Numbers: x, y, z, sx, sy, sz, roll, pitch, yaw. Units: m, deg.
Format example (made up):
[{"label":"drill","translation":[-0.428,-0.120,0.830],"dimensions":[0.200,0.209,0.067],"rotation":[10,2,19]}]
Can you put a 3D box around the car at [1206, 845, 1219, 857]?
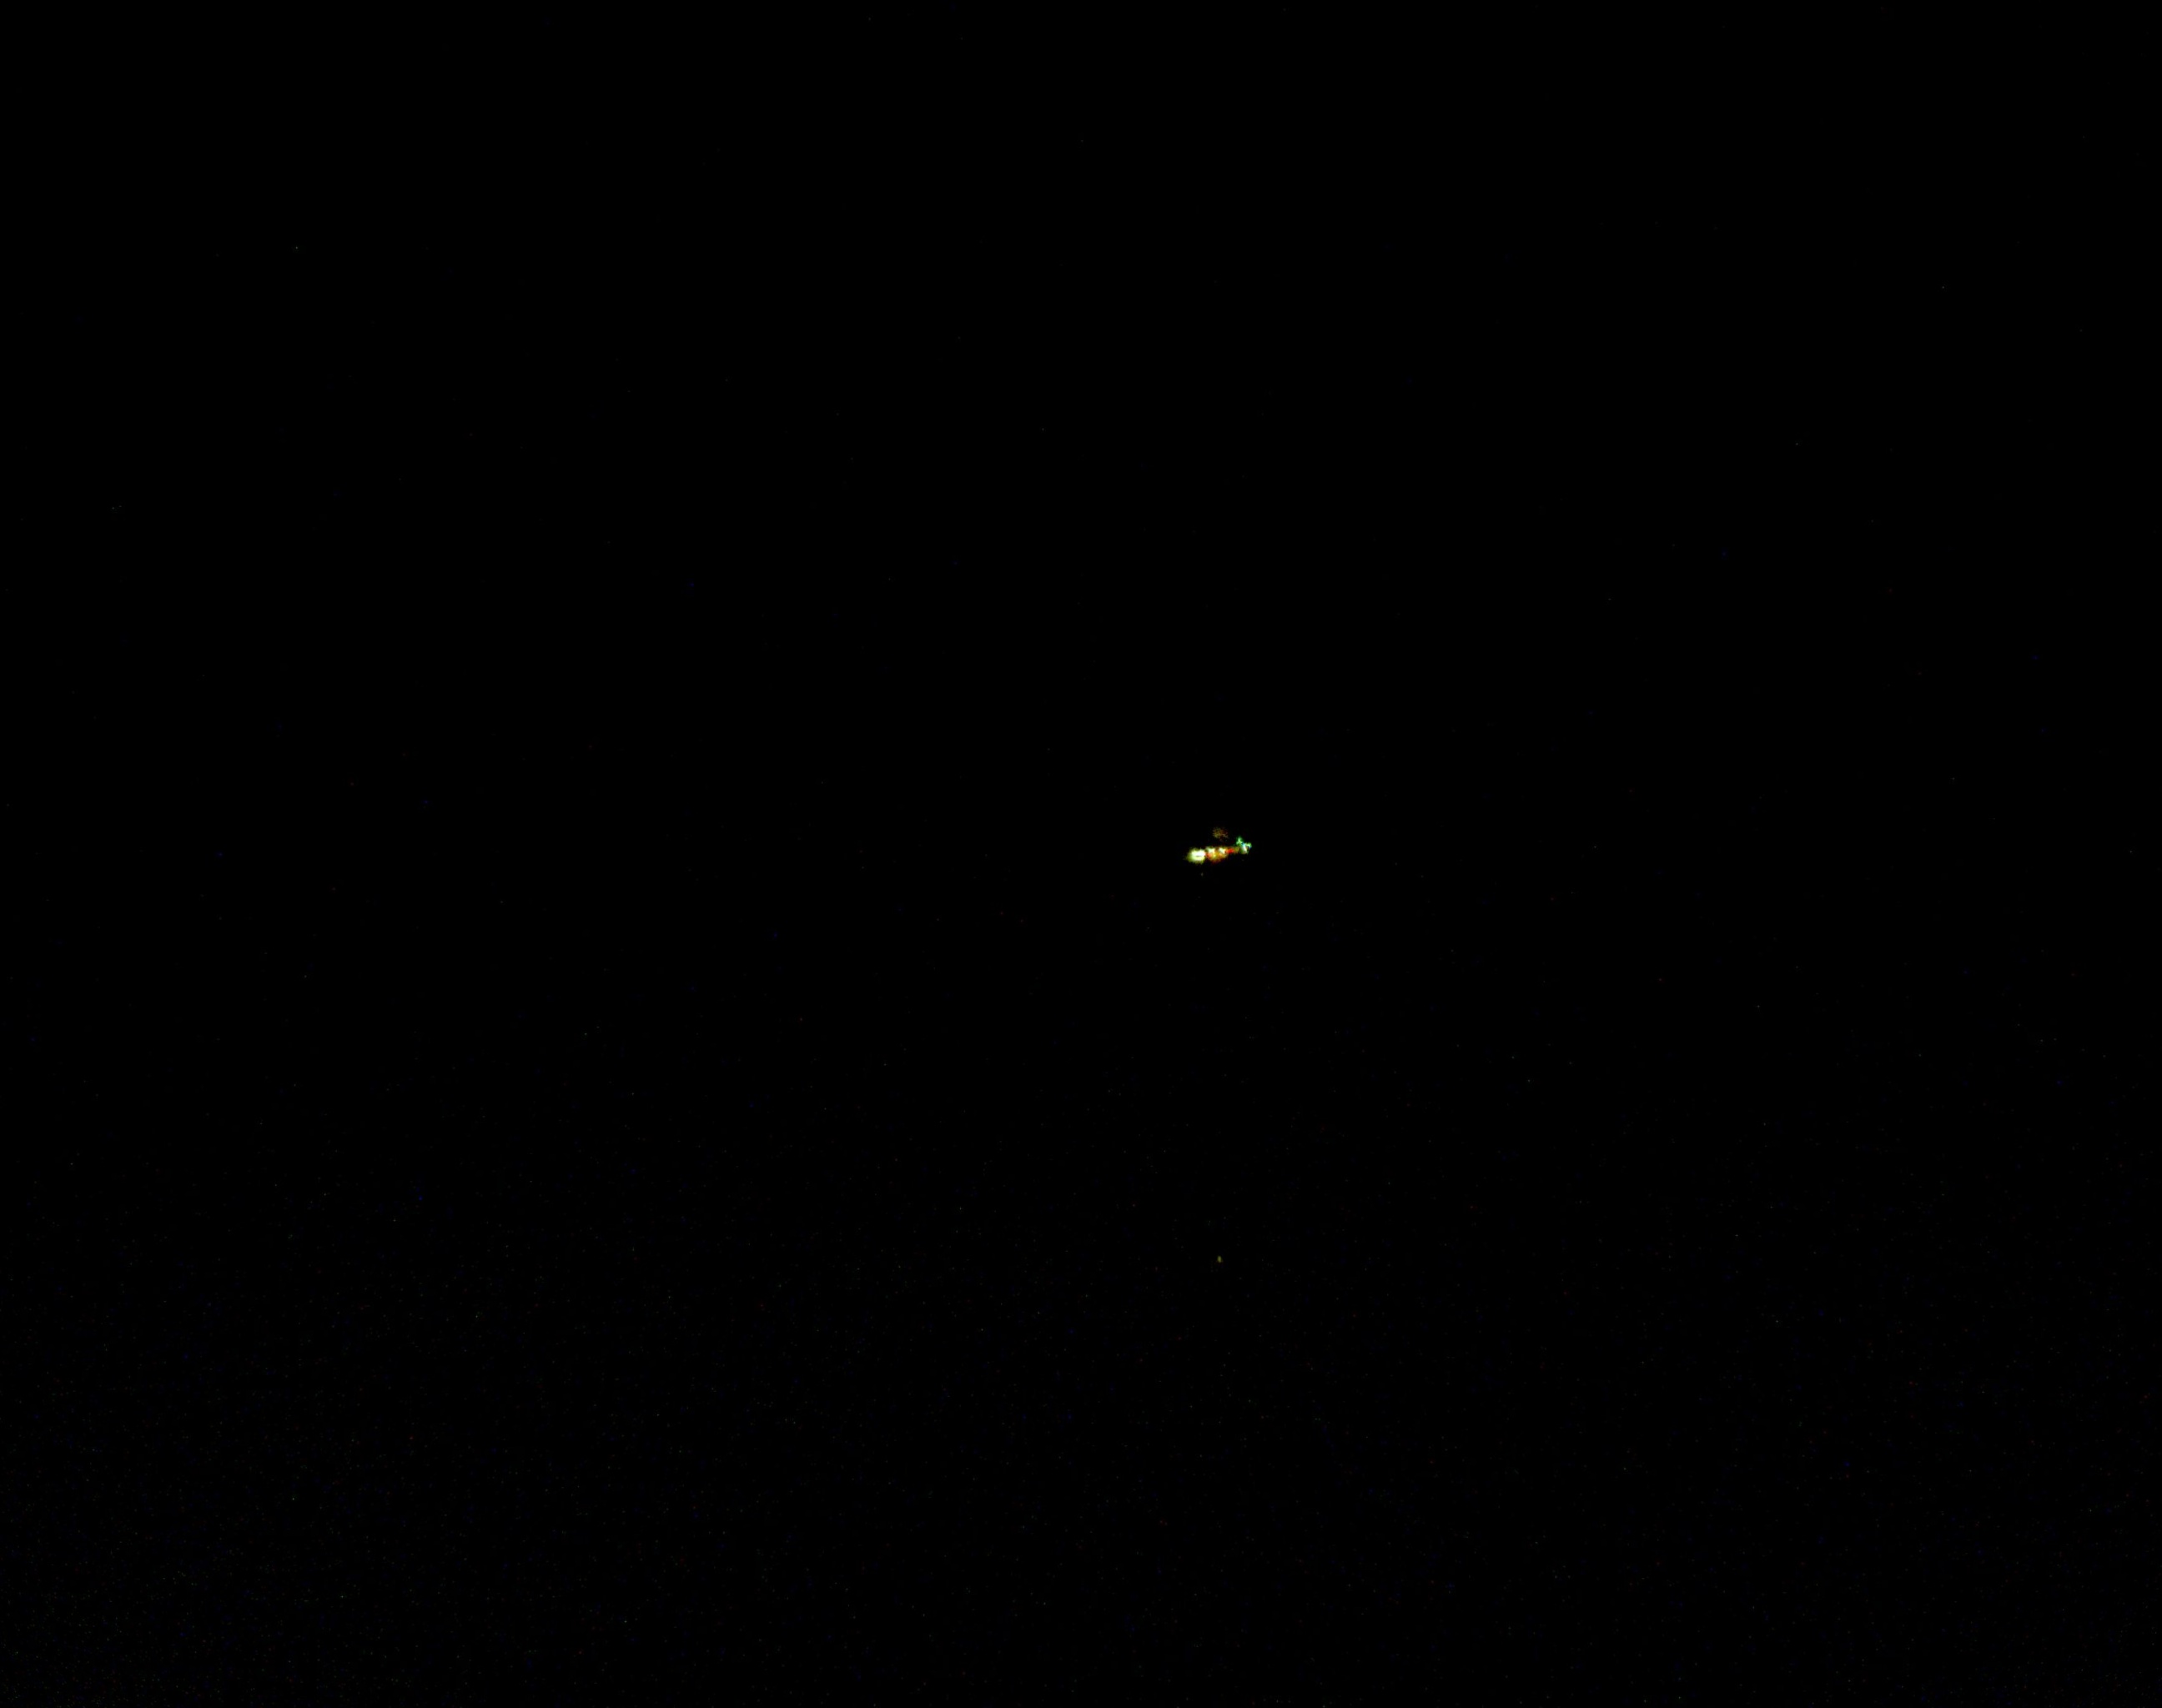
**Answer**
[{"label":"car","translation":[20.867,-0.531,120.425],"dimensions":[1.863,1.737,4.966],"rotation":[-1,1,12]}]

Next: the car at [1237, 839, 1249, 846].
[{"label":"car","translation":[34.571,-2.549,162.233],"dimensions":[1.773,1.381,4.238],"rotation":[-1,1,21]}]

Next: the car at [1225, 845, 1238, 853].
[{"label":"car","translation":[28.560,-0.935,144.189],"dimensions":[1.773,1.381,4.040],"rotation":[-1,1,21]}]
